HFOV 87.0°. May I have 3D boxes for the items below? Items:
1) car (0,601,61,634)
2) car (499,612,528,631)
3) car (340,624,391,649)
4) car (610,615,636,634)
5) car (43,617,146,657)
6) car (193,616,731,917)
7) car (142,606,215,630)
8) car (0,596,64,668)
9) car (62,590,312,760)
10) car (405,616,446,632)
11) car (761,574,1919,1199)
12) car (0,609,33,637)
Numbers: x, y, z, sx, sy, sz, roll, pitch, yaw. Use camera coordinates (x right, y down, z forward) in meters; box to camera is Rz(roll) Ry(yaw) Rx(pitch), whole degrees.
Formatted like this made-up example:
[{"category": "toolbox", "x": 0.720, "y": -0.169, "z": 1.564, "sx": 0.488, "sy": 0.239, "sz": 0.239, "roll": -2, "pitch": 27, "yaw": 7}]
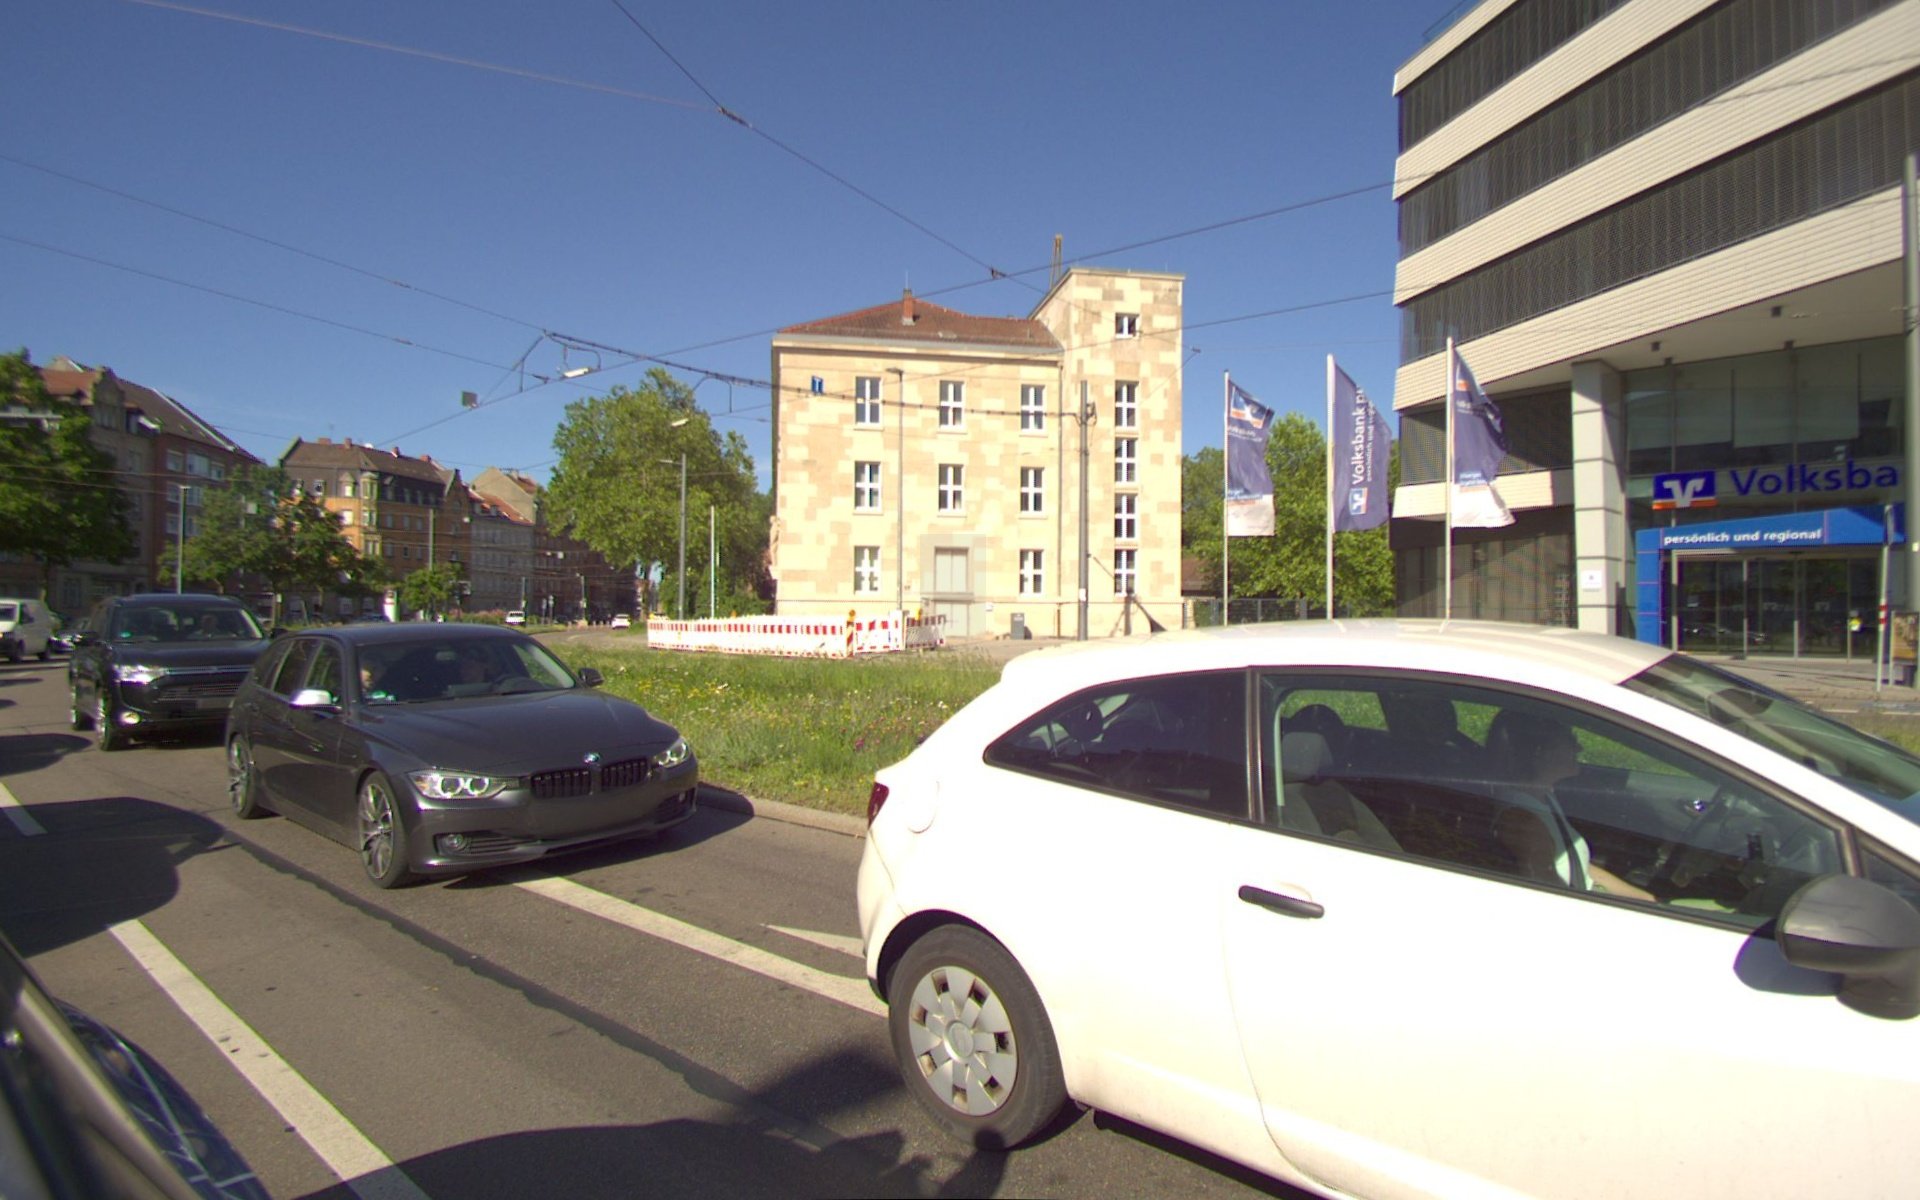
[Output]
[{"category": "car", "x": -49.931, "y": 0.884, "z": 52.790, "sx": 4.514, "sy": 1.680, "sz": 1.601, "roll": 2, "pitch": -2, "yaw": -43}, {"category": "car", "x": -47.526, "y": 2.304, "z": 107.778, "sx": 1.967, "sy": 1.889, "sz": 4.602, "roll": -1, "pitch": 0, "yaw": -13}, {"category": "car", "x": -42.115, "y": 2.579, "z": 71.799, "sx": 1.811, "sy": 1.659, "sz": 4.157, "roll": 1, "pitch": -1, "yaw": -10}, {"category": "car", "x": -31.650, "y": 2.292, "z": 95.098, "sx": 1.796, "sy": 1.658, "sz": 4.191, "roll": 0, "pitch": -1, "yaw": -11}, {"category": "car", "x": -34.234, "y": 1.442, "z": 40.186, "sx": 1.809, "sy": 1.483, "sz": 4.729, "roll": 1, "pitch": -1, "yaw": -24}, {"category": "car", "x": -3.599, "y": 0.825, "z": 6.877, "sx": 4.424, "sy": 1.377, "sz": 1.719, "roll": -1, "pitch": 0, "yaw": 41}, {"category": "car", "x": -53.932, "y": 1.266, "z": 69.872, "sx": 3.771, "sy": 1.603, "sz": 1.601, "roll": 2, "pitch": -2, "yaw": -44}, {"category": "car", "x": -29.755, "y": 0.939, "z": 31.264, "sx": 1.949, "sy": 2.101, "sz": 4.728, "roll": 2, "pitch": -1, "yaw": -27}, {"category": "car", "x": -9.381, "y": 0.770, "z": 12.128, "sx": 1.817, "sy": 1.658, "sz": 4.400, "roll": -1, "pitch": -1, "yaw": -45}, {"category": "car", "x": -61.618, "y": 2.749, "z": 116.777, "sx": 3.931, "sy": 1.663, "sz": 1.868, "roll": -1, "pitch": 0, "yaw": -18}, {"category": "car", "x": 1.480, "y": 0.692, "z": 2.478, "sx": 4.020, "sy": 1.452, "sz": 1.714, "roll": 0, "pitch": 2, "yaw": 40}, {"category": "car", "x": -48.766, "y": 1.145, "z": 50.384, "sx": 3.768, "sy": 1.390, "sz": 1.602, "roll": 2, "pitch": -2, "yaw": -41}]
